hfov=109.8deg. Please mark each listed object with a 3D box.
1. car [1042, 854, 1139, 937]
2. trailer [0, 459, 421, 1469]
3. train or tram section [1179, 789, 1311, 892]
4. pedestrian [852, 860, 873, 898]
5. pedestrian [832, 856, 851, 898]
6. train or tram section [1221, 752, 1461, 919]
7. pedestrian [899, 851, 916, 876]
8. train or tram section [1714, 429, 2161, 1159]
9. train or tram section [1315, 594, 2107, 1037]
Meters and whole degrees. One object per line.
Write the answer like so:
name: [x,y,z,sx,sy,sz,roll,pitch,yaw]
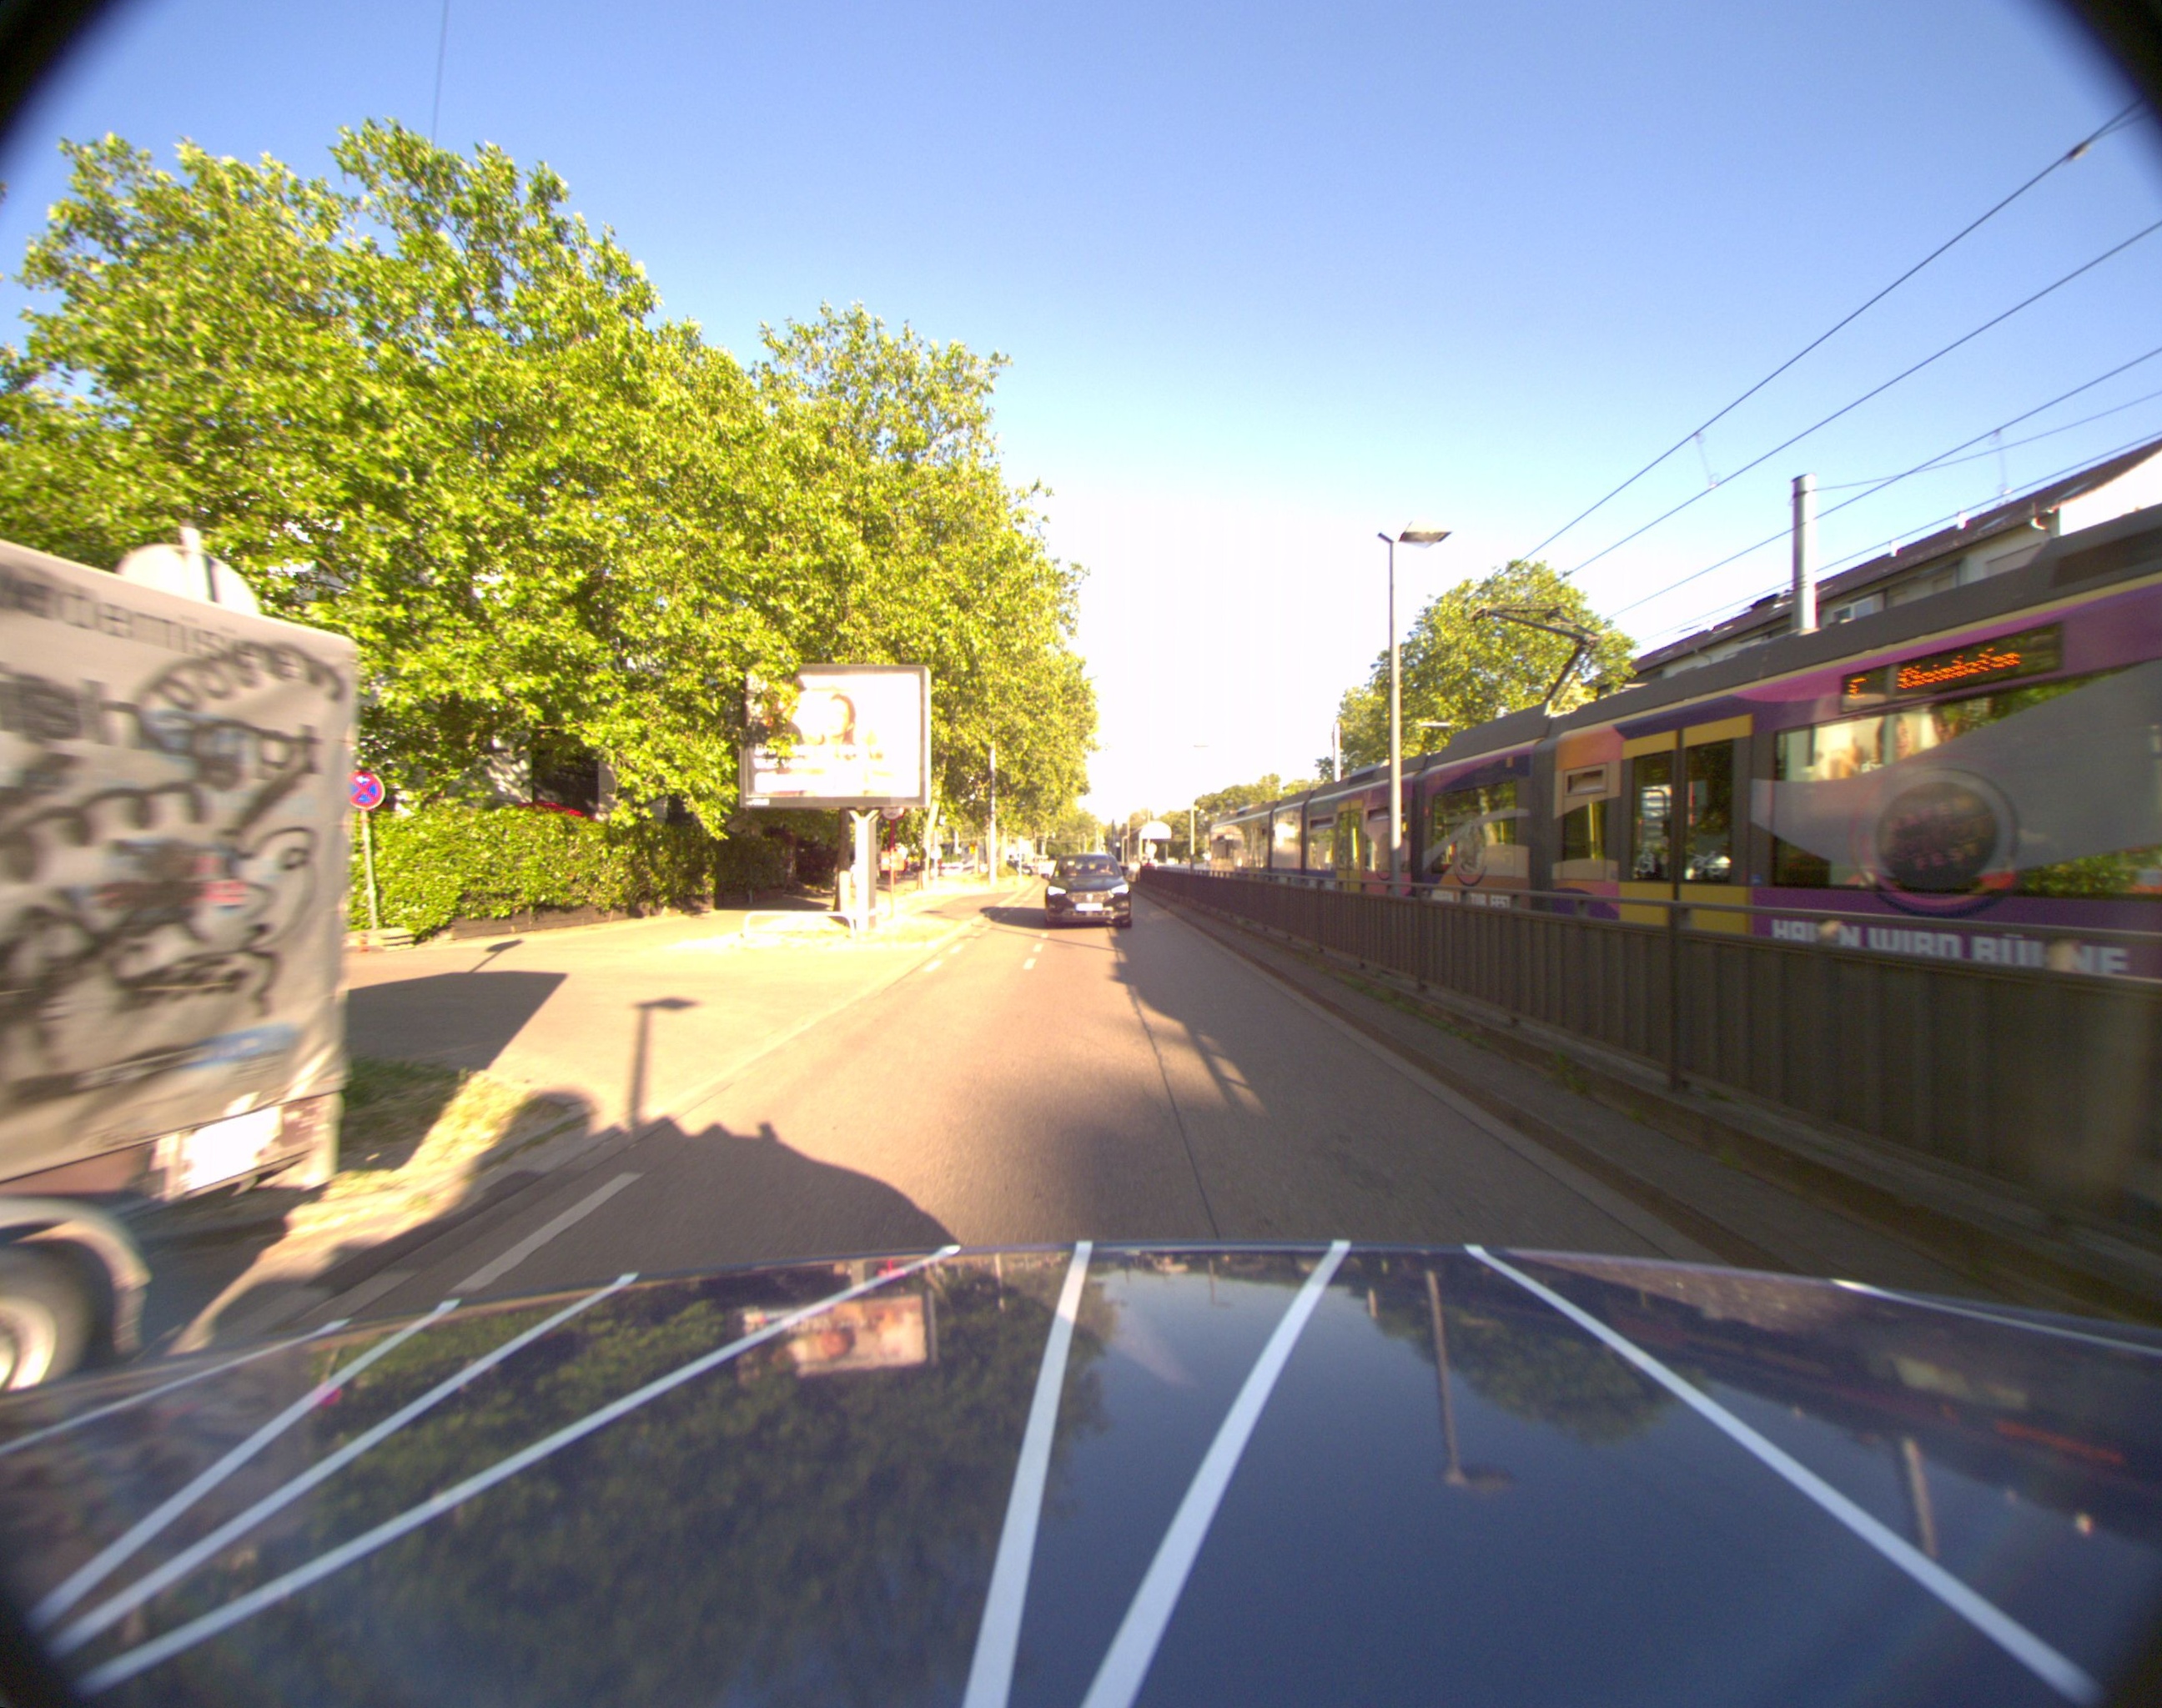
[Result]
car: [0.123,0.841,17.366,1.911,1.606,4.085,-2,0,-2]
trailer: [-3.708,0.280,0.816,1.890,2.573,4.651,0,0,1]
train or tram section: [6.332,-0.506,31.320,3.043,3.497,10.095,1,0,-1]
pedestrian: [-8.919,1.001,31.032,0.626,1.533,0.765,0,0,-4]
pedestrian: [-9.762,0.933,31.001,0.555,1.658,0.694,0,0,-4]
train or tram section: [6.463,-0.421,21.211,3.043,3.497,10.095,1,0,-1]
pedestrian: [-13.216,0.740,57.797,1.062,1.853,0.951,0,0,0]
train or tram section: [6.728,-0.252,1.082,3.043,3.497,10.095,1,0,-1]
train or tram section: [6.601,-0.332,11.136,3.043,3.497,10.095,1,0,-1]
